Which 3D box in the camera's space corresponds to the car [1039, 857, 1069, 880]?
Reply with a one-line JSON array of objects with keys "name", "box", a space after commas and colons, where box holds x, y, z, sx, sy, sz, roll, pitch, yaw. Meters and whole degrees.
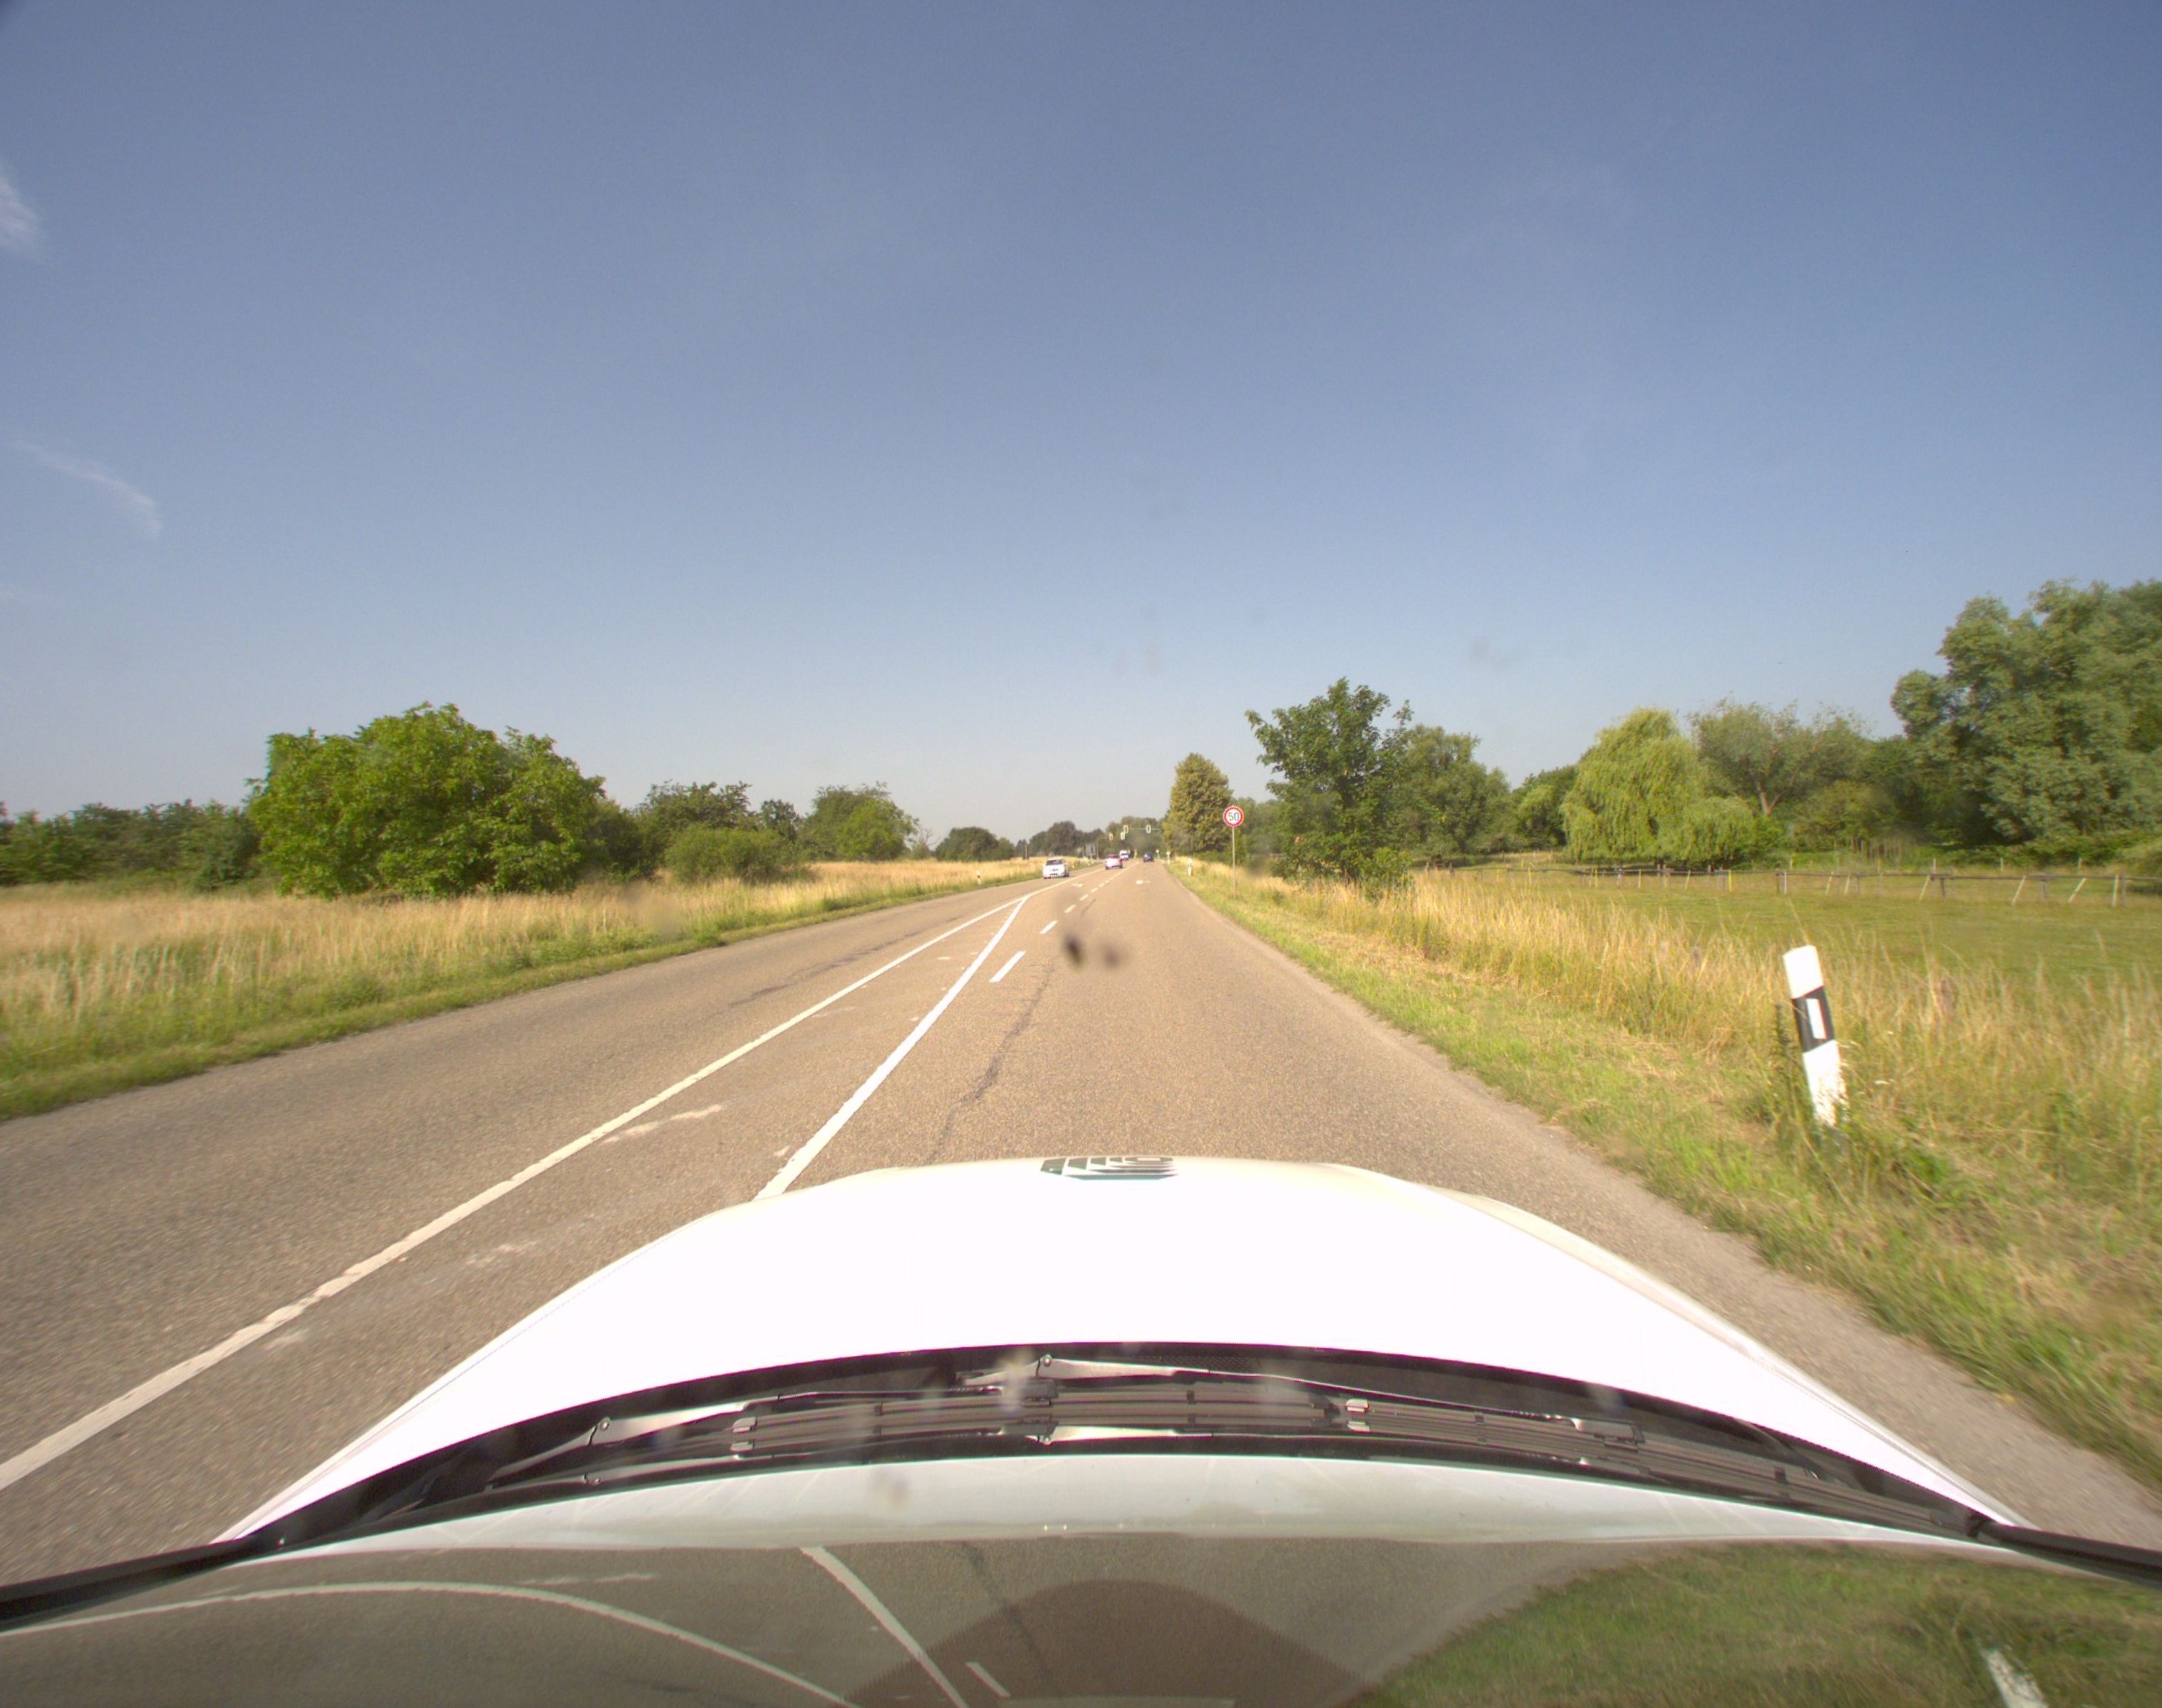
[{"name": "car", "box": [-2.135, 1.130, 65.144, 1.804, 1.585, 4.230, -4, 0, 5]}]

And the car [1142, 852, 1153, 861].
[{"name": "car", "box": [11.286, 0.423, 138.220, 1.807, 1.520, 4.006, -2, 0, 5]}]

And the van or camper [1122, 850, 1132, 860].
[{"name": "van or camper", "box": [12.143, 0.337, 215.493, 2.253, 2.710, 5.270, 0, 0, 6]}]

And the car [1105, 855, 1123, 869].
[{"name": "car", "box": [3.780, 0.907, 91.992, 1.890, 1.512, 4.004, 0, 0, 4]}]
